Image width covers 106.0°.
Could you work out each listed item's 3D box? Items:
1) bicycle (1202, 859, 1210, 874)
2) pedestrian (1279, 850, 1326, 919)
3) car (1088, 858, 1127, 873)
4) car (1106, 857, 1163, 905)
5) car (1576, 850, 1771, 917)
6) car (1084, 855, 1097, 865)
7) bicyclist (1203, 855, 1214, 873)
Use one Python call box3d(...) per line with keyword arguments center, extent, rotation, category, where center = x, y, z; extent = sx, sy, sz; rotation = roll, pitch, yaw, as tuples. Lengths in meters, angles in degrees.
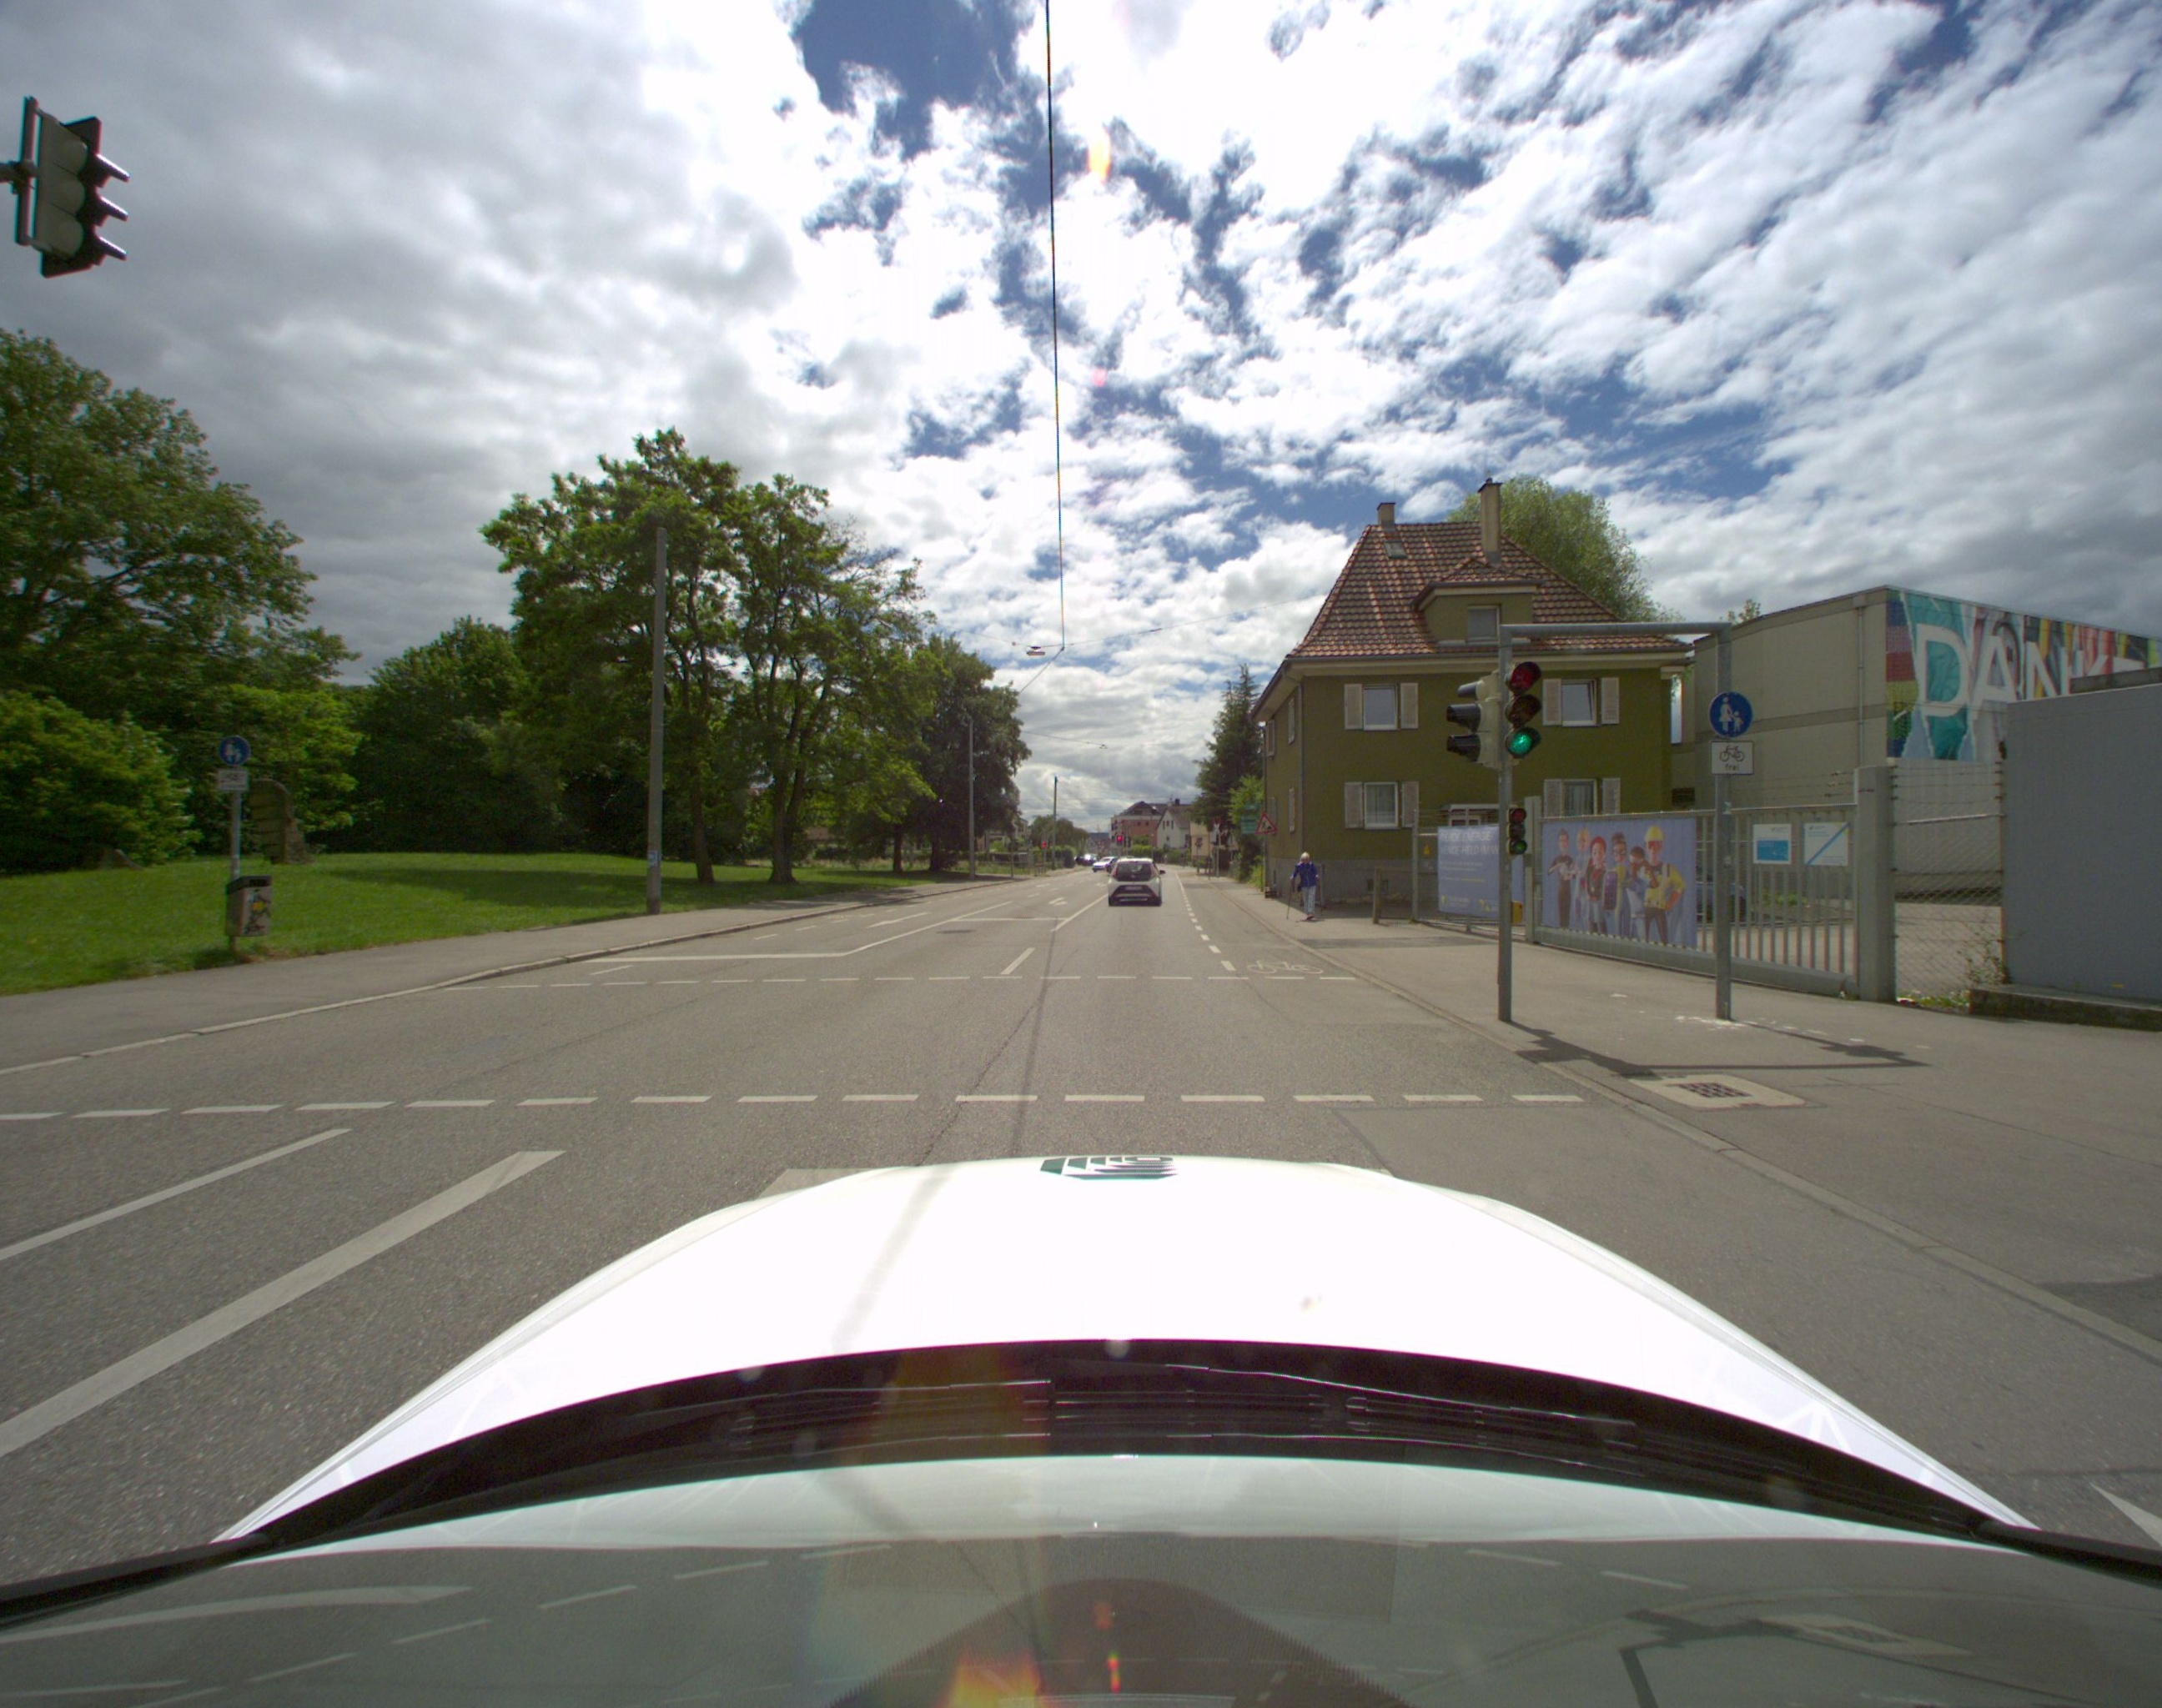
box3d(center=(11.013, 1.095, 71.839), extent=(0.456, 1.172, 1.479), rotation=(-3, 2, 1), category="bicycle")
box3d(center=(5.230, 0.705, 19.263), extent=(0.821, 1.572, 0.988), rotation=(-2, -1, 1), category="pedestrian")
box3d(center=(2.641, 1.112, 80.921), extent=(1.886, 1.441, 4.124), rotation=(0, -1, 34), category="car")
box3d(center=(1.753, 0.831, 26.534), extent=(1.713, 1.442, 3.712), rotation=(1, 0, 4), category="car")
box3d(center=(14.153, 0.678, 19.590), extent=(3.493, 1.494, 1.659), rotation=(1, 1, 0), category="car")
box3d(center=(1.504, 0.972, 132.173), extent=(1.987, 1.719, 3.999), rotation=(1, 0, 0), category="car")
box3d(center=(11.259, 0.883, 71.837), extent=(0.838, 1.553, 0.756), rotation=(-3, 2, 0), category="bicyclist")
